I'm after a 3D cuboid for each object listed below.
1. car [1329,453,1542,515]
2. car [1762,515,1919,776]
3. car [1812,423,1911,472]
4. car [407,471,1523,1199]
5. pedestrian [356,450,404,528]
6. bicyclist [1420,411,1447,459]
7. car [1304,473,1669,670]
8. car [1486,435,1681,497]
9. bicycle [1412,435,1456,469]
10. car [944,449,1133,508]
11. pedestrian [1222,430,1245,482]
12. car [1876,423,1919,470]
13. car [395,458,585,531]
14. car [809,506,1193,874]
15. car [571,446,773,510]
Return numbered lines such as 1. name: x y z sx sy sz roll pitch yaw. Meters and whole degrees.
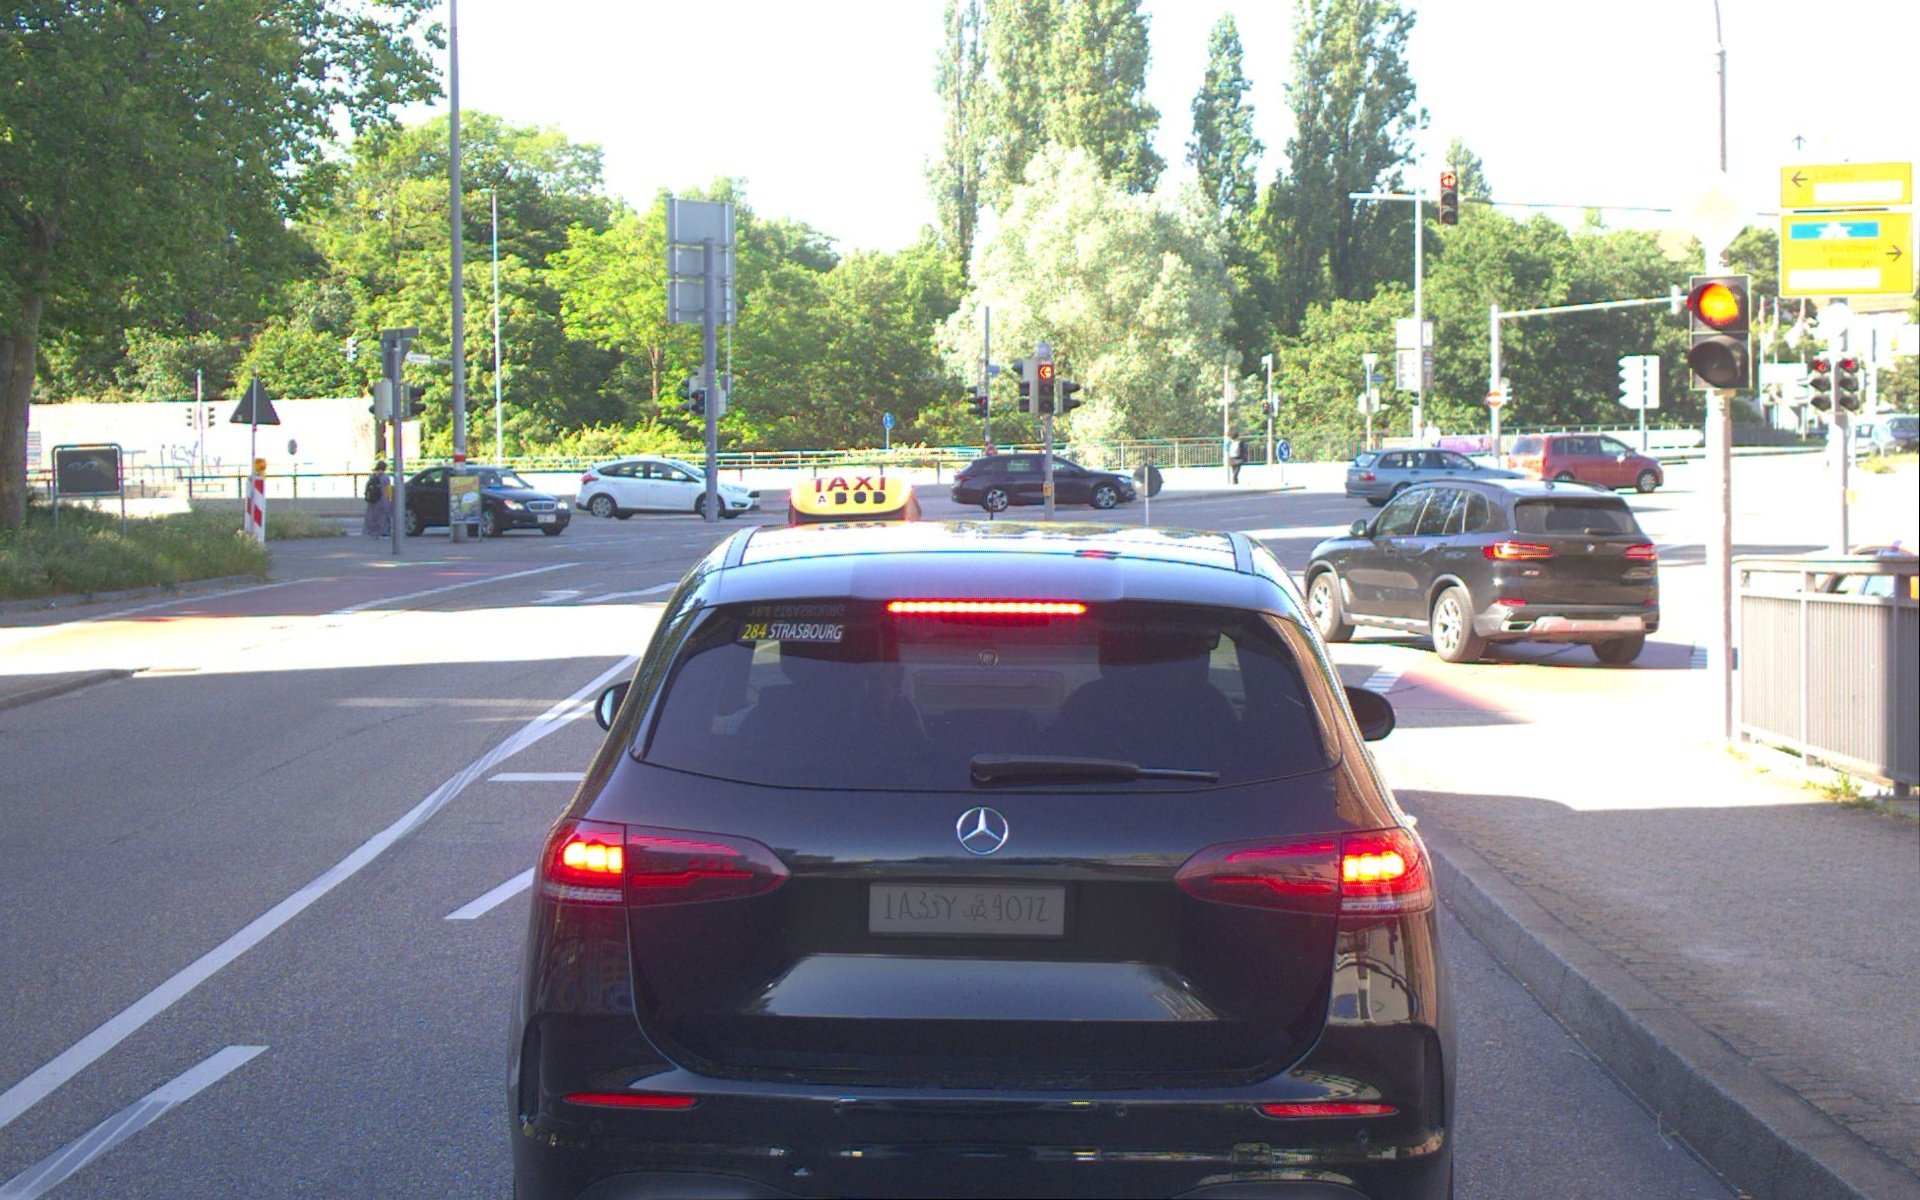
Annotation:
1. car: 11.294 -2.765 81.718 4.578 1.290 2.001 -2 4 -15
2. car: 6.855 0.249 23.825 1.721 1.516 3.487 0 4 -1
3. car: 30.078 -5.108 114.663 1.882 1.573 3.992 1 3 36
4. car: -0.017 0.542 7.841 1.878 1.608 4.000 1 2 -1
5. pedestrian: -11.469 -2.202 67.991 0.705 1.520 0.743 1 2 10
6. bicyclist: 15.458 -5.386 112.126 0.527 1.545 0.805 0 3 36
7. car: 5.095 -0.284 33.877 1.721 1.806 4.298 0 1 -19
8. car: 16.174 -3.484 89.263 4.536 1.450 2.001 -2 4 -16
9. bicycle: 15.462 -4.828 112.159 0.527 1.046 1.986 0 3 36
10. car: 1.924 -3.015 85.210 4.579 1.290 1.887 -1 3 -1
11. pedestrian: 8.390 -4.401 105.361 0.451 1.580 0.500 1 3 40
12. car: 33.569 -5.373 119.817 1.882 1.573 3.992 1 3 36
13. car: -9.570 -2.156 69.764 1.742 1.402 4.199 -3 4 -42
14. car: 0.230 0.347 16.727 1.640 1.524 3.474 -1 2 2
15. car: -6.778 -2.879 81.126 4.303 1.360 1.999 -1 4 14
